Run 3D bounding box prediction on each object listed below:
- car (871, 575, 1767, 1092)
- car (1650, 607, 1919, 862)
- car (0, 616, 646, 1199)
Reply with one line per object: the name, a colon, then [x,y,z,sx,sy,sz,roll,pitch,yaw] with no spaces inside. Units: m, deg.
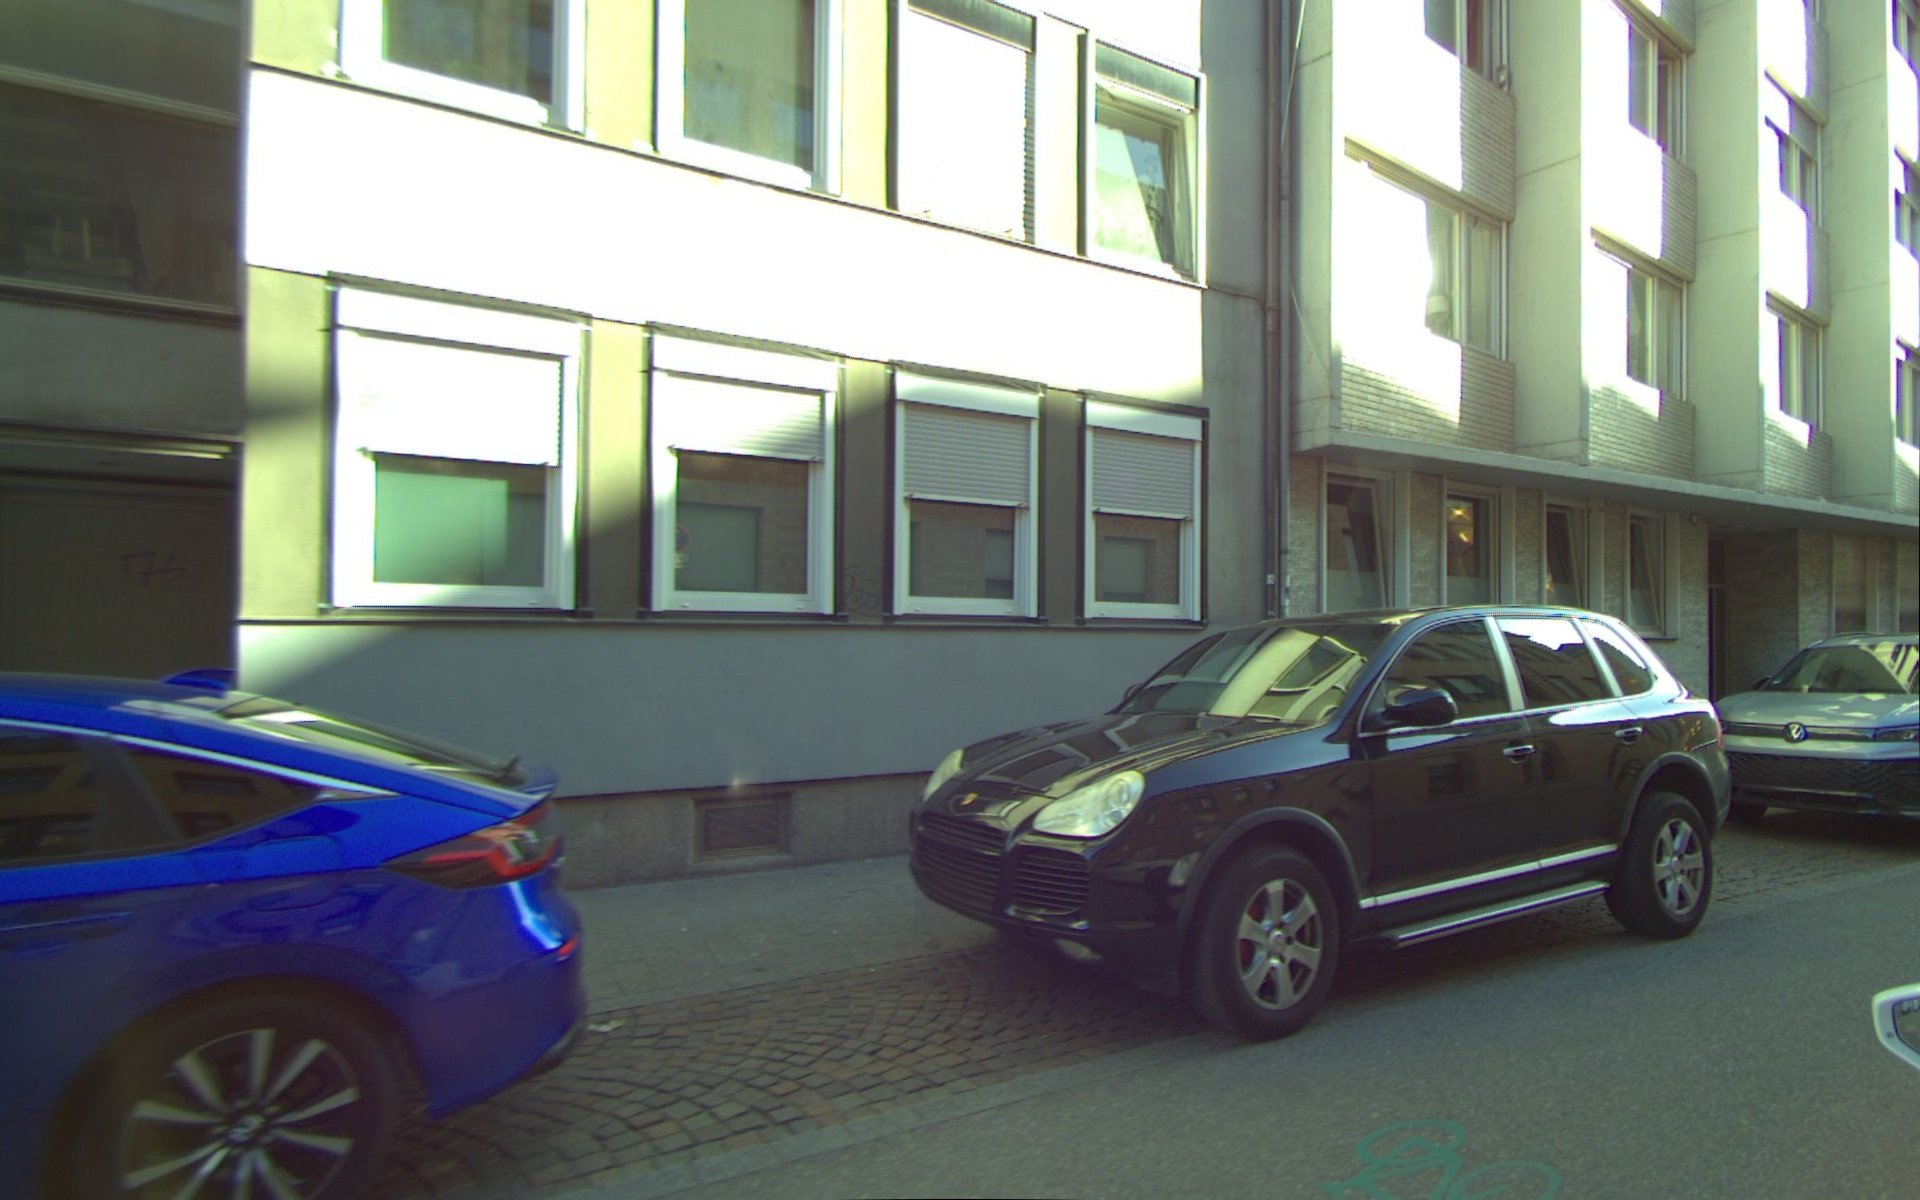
car: [1.969,0.841,5.233,4.497,1.698,1.882,1,-2,-28]
car: [8.202,0.999,8.714,4.336,1.765,1.883,1,-2,-28]
car: [-3.203,0.826,2.587,4.288,1.550,1.882,1,-2,-30]
